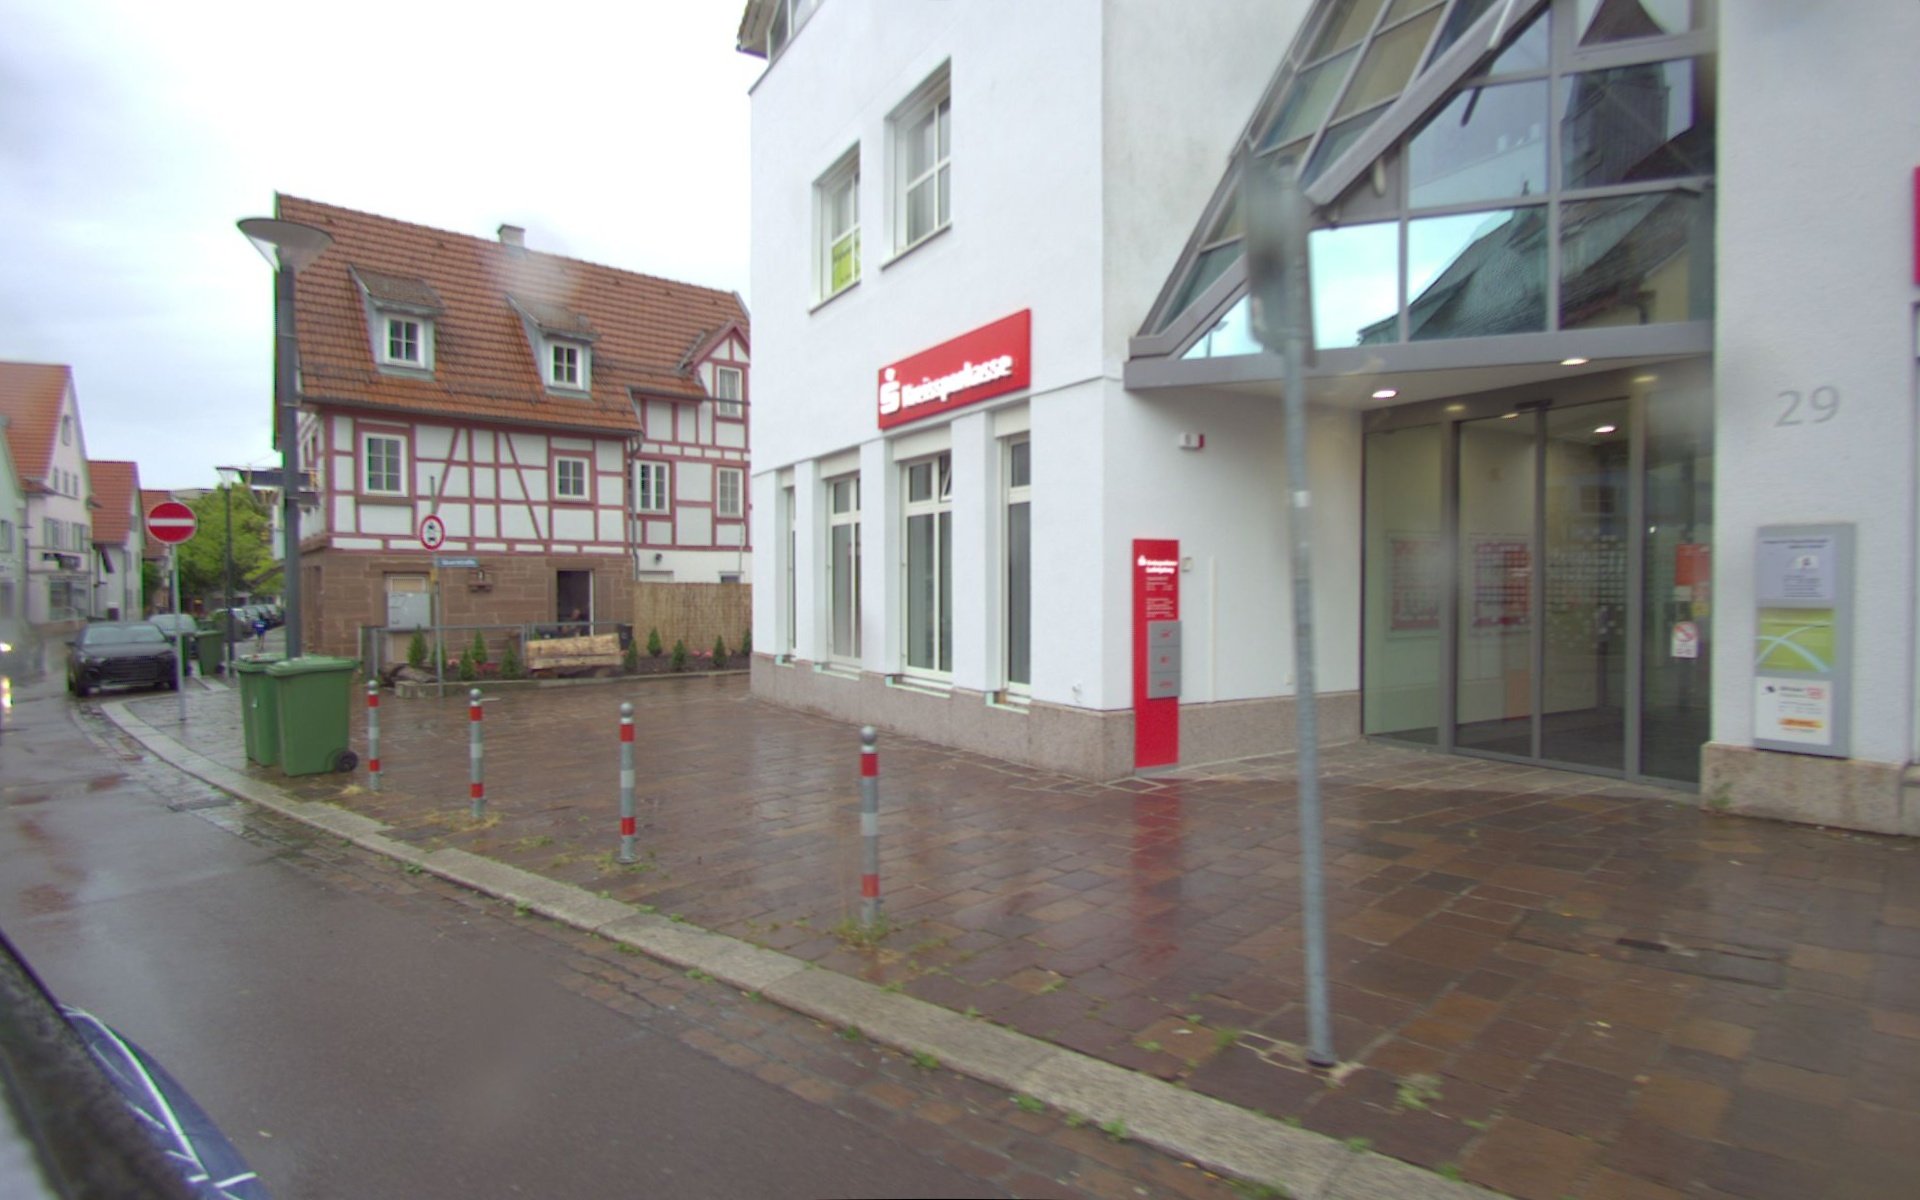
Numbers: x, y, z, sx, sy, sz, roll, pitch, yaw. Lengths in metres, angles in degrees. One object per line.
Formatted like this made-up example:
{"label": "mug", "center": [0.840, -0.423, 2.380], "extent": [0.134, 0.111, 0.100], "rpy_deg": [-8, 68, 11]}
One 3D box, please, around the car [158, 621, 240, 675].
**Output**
{"label": "car", "center": [-25.596, 1.562, 34.157], "extent": [1.967, 1.540, 4.010], "rpy_deg": [-3, 1, -34]}

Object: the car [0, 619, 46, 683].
{"label": "car", "center": [-28.318, 1.458, 29.712], "extent": [1.968, 1.763, 4.007], "rpy_deg": [0, -1, -39]}

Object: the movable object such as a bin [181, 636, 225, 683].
{"label": "movable object such as a bin", "center": [-19.233, 1.498, 25.712], "extent": [0.822, 1.120, 0.920], "rpy_deg": [0, -1, -42]}

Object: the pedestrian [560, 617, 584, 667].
{"label": "pedestrian", "center": [-9.180, 0.994, 23.942], "extent": [0.406, 1.163, 0.425], "rpy_deg": [0, -1, -40]}

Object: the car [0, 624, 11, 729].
{"label": "car", "center": [-14.908, 1.134, 14.477], "extent": [1.710, 1.567, 3.851], "rpy_deg": [0, -1, -40]}

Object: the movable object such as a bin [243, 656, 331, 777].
{"label": "movable object such as a bin", "center": [-6.731, 1.140, 10.126], "extent": [0.650, 1.123, 0.553], "rpy_deg": [0, -1, -44]}

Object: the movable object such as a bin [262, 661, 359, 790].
{"label": "movable object such as a bin", "center": [-6.084, 1.146, 9.486], "extent": [0.613, 1.104, 0.651], "rpy_deg": [-1, -1, 45]}

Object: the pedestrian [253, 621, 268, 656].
{"label": "pedestrian", "center": [-26.612, 1.451, 38.519], "extent": [0.448, 1.317, 0.519], "rpy_deg": [0, -1, -33]}

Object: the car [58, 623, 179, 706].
{"label": "car", "center": [-18.036, 1.297, 21.634], "extent": [1.670, 1.497, 4.003], "rpy_deg": [-4, 2, -44]}

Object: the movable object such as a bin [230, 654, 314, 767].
{"label": "movable object such as a bin", "center": [-7.184, 1.133, 10.570], "extent": [0.650, 1.090, 0.553], "rpy_deg": [0, -1, -44]}
